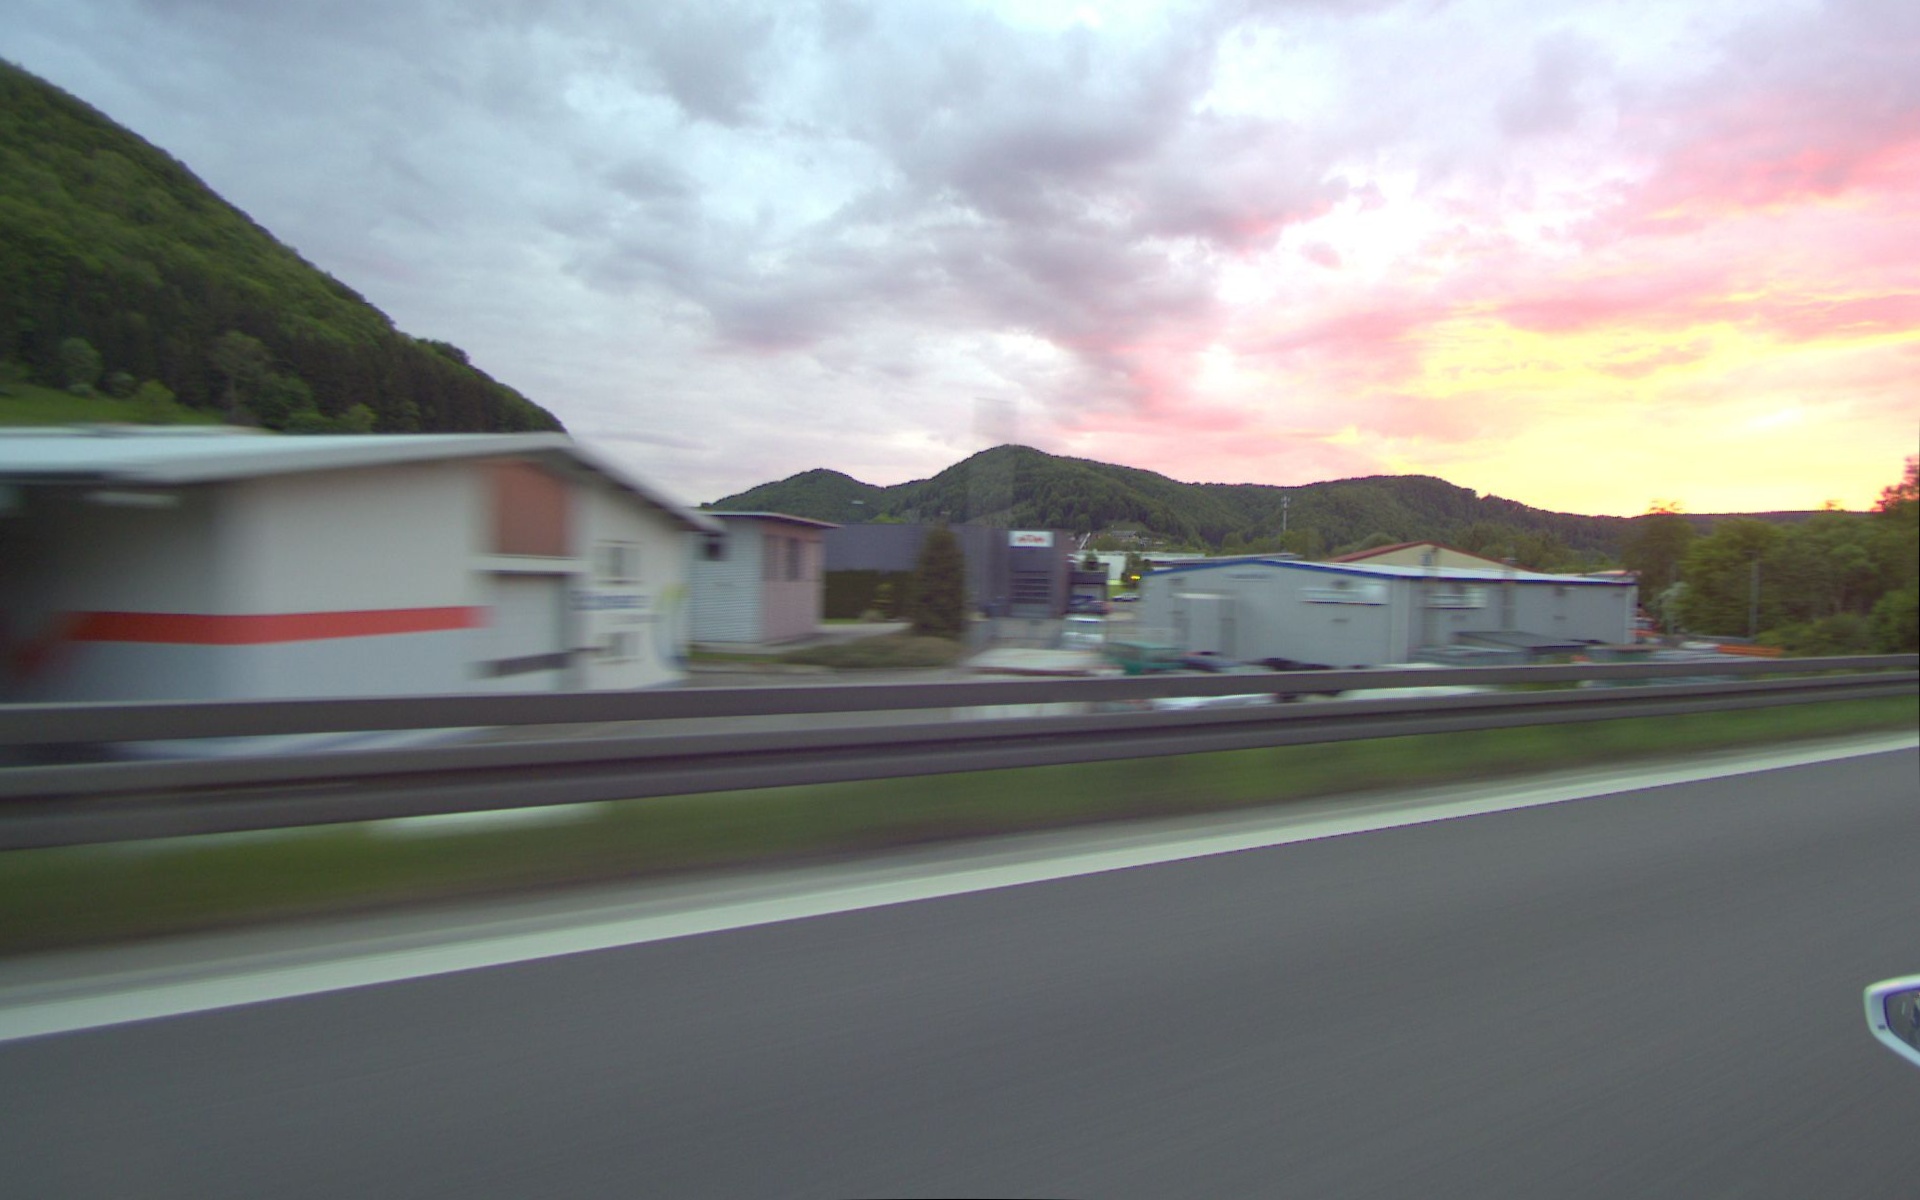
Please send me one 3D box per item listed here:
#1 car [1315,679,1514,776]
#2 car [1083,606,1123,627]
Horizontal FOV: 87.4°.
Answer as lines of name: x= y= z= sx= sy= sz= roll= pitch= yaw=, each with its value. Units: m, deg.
car: x=10.327 y=2.837 z=23.138 sx=1.748 sy=1.715 sz=3.975 roll=2 pitch=0 yaw=-24
car: x=14.865 y=1.709 z=104.430 sx=3.919 sy=2.040 sz=2.001 roll=2 pitch=0 yaw=13
